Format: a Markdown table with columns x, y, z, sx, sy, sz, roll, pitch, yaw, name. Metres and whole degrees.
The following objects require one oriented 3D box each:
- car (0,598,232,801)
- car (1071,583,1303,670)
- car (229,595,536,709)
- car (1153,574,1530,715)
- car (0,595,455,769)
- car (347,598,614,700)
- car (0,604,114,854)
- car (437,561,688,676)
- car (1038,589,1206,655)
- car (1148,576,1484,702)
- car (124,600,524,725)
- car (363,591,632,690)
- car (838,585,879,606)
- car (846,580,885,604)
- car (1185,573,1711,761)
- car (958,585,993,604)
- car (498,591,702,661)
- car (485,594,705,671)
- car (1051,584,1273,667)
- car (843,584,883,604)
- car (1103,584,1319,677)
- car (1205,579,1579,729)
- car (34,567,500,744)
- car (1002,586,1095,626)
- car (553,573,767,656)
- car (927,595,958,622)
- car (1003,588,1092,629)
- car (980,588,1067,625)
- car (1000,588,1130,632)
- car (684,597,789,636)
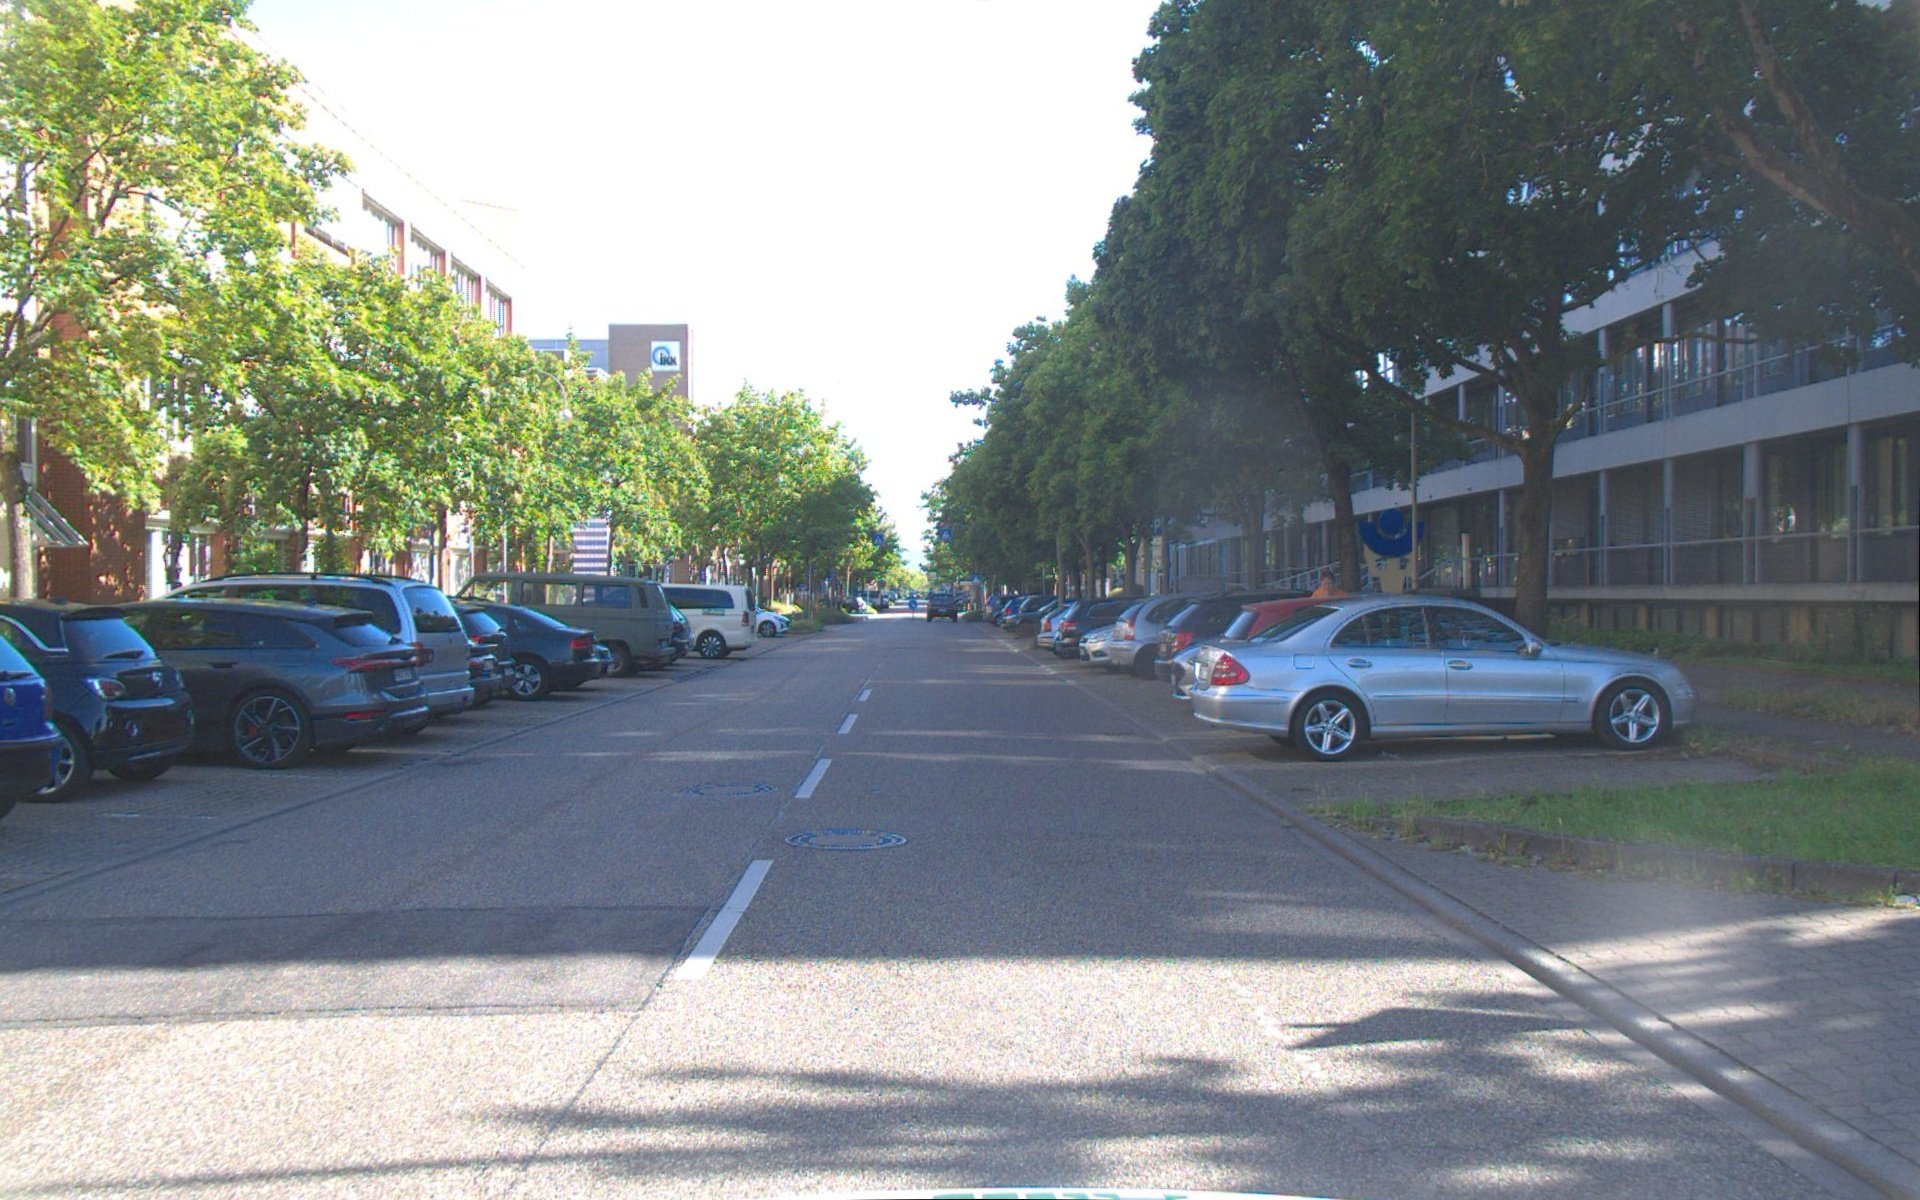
| x | y | z | sx | sy | sz | roll | pitch | yaw | name |
| --- | --- | --- | --- | --- | --- | --- | --- | --- | --- |
| -7.963 | 0.715 | 13.023 | 3.651 | 1.452 | 1.772 | 1 | 0 | -2 | car |
| 4.494 | 0.512 | 33.147 | 4.204 | 1.519 | 2.001 | -2 | 0 | -7 | car |
| -7.958 | 0.701 | 23.041 | 3.651 | 1.452 | 1.724 | 1 | 0 | -2 | car |
| 4.804 | 0.544 | 21.327 | 4.421 | 1.569 | 1.922 | -2 | 0 | 3 | car |
| -7.152 | 0.730 | 15.445 | 4.315 | 1.452 | 1.771 | 1 | 0 | -3 | car |
| -7.246 | 0.729 | 25.283 | 3.655 | 1.452 | 1.722 | 1 | 0 | -7 | car |
| -7.512 | 0.740 | 10.161 | 3.651 | 1.452 | 1.840 | 1 | 0 | -2 | car |
| -7.798 | 0.350 | 32.766 | 4.395 | 2.126 | 2.083 | 1 | 0 | 1 | car |
| 3.986 | 0.539 | 41.104 | 3.891 | 1.444 | 1.709 | -2 | 0 | -3 | car |
| 5.020 | 0.536 | 23.815 | 4.421 | 1.569 | 1.922 | -2 | 0 | 2 | car |
| -7.729 | 0.744 | 20.404 | 4.234 | 1.382 | 1.756 | 1 | 0 | -2 | car |
| -7.768 | 0.665 | 28.052 | 4.048 | 1.554 | 1.725 | 1 | 0 | -1 | car |
| -10.211 | -0.473 | 167.011 | 3.903 | 2.049 | 2.001 | -1 | 0 | 3 | car |
| -9.989 | -0.853 | 174.861 | 3.903 | 2.586 | 1.863 | 0 | 0 | 3 | car |
| 4.541 | 0.598 | 15.849 | 4.485 | 1.501 | 1.747 | -3 | 0 | -1 | car |
| 1.814 | -0.630 | 189.857 | 3.907 | 2.049 | 1.999 | -1 | 0 | -3 | car |
| -8.244 | 0.579 | 38.167 | 4.231 | 1.503 | 1.943 | 1 | 0 | 1 | car |
| -7.756 | 0.673 | 35.450 | 4.231 | 1.503 | 1.943 | 1 | 0 | 1 | car |
| 4.324 | 0.532 | 35.853 | 4.498 | 1.519 | 1.762 | -3 | 0 | -1 | car |
| -10.021 | -0.620 | 170.423 | 3.903 | 2.049 | 2.001 | -1 | 0 | 3 | car |
| 4.623 | 0.549 | 30.785 | 3.670 | 1.519 | 1.615 | -2 | 0 | -5 | car |
| 4.787 | 0.576 | 18.793 | 3.758 | 1.472 | 1.923 | -2 | 0 | 3 | car |
| -7.411 | 0.572 | 18.051 | 4.234 | 1.747 | 1.961 | 1 | 0 | -3 | car |
| 3.797 | 0.239 | 71.476 | 3.868 | 1.541 | 1.813 | -2 | 0 | 0 | car |
| -7.692 | 0.358 | 42.744 | 5.151 | 2.001 | 1.942 | 1 | 0 | -1 | car |
| -1.130 | 0.554 | 106.803 | 1.953 | 1.668 | 3.999 | 1 | 0 | -1 | car |
| 3.618 | 0.353 | 68.985 | 3.566 | 1.541 | 1.813 | -2 | 0 | 0 | car |
| 3.263 | 0.338 | 85.663 | 4.265 | 1.733 | 1.811 | -2 | 0 | -4 | car |
| 3.957 | 0.377 | 62.942 | 4.729 | 1.444 | 2.031 | -2 | 0 | -3 | car |
| -8.782 | 0.639 | 65.151 | 3.907 | 1.512 | 1.806 | 0 | 0 | -2 | car |
